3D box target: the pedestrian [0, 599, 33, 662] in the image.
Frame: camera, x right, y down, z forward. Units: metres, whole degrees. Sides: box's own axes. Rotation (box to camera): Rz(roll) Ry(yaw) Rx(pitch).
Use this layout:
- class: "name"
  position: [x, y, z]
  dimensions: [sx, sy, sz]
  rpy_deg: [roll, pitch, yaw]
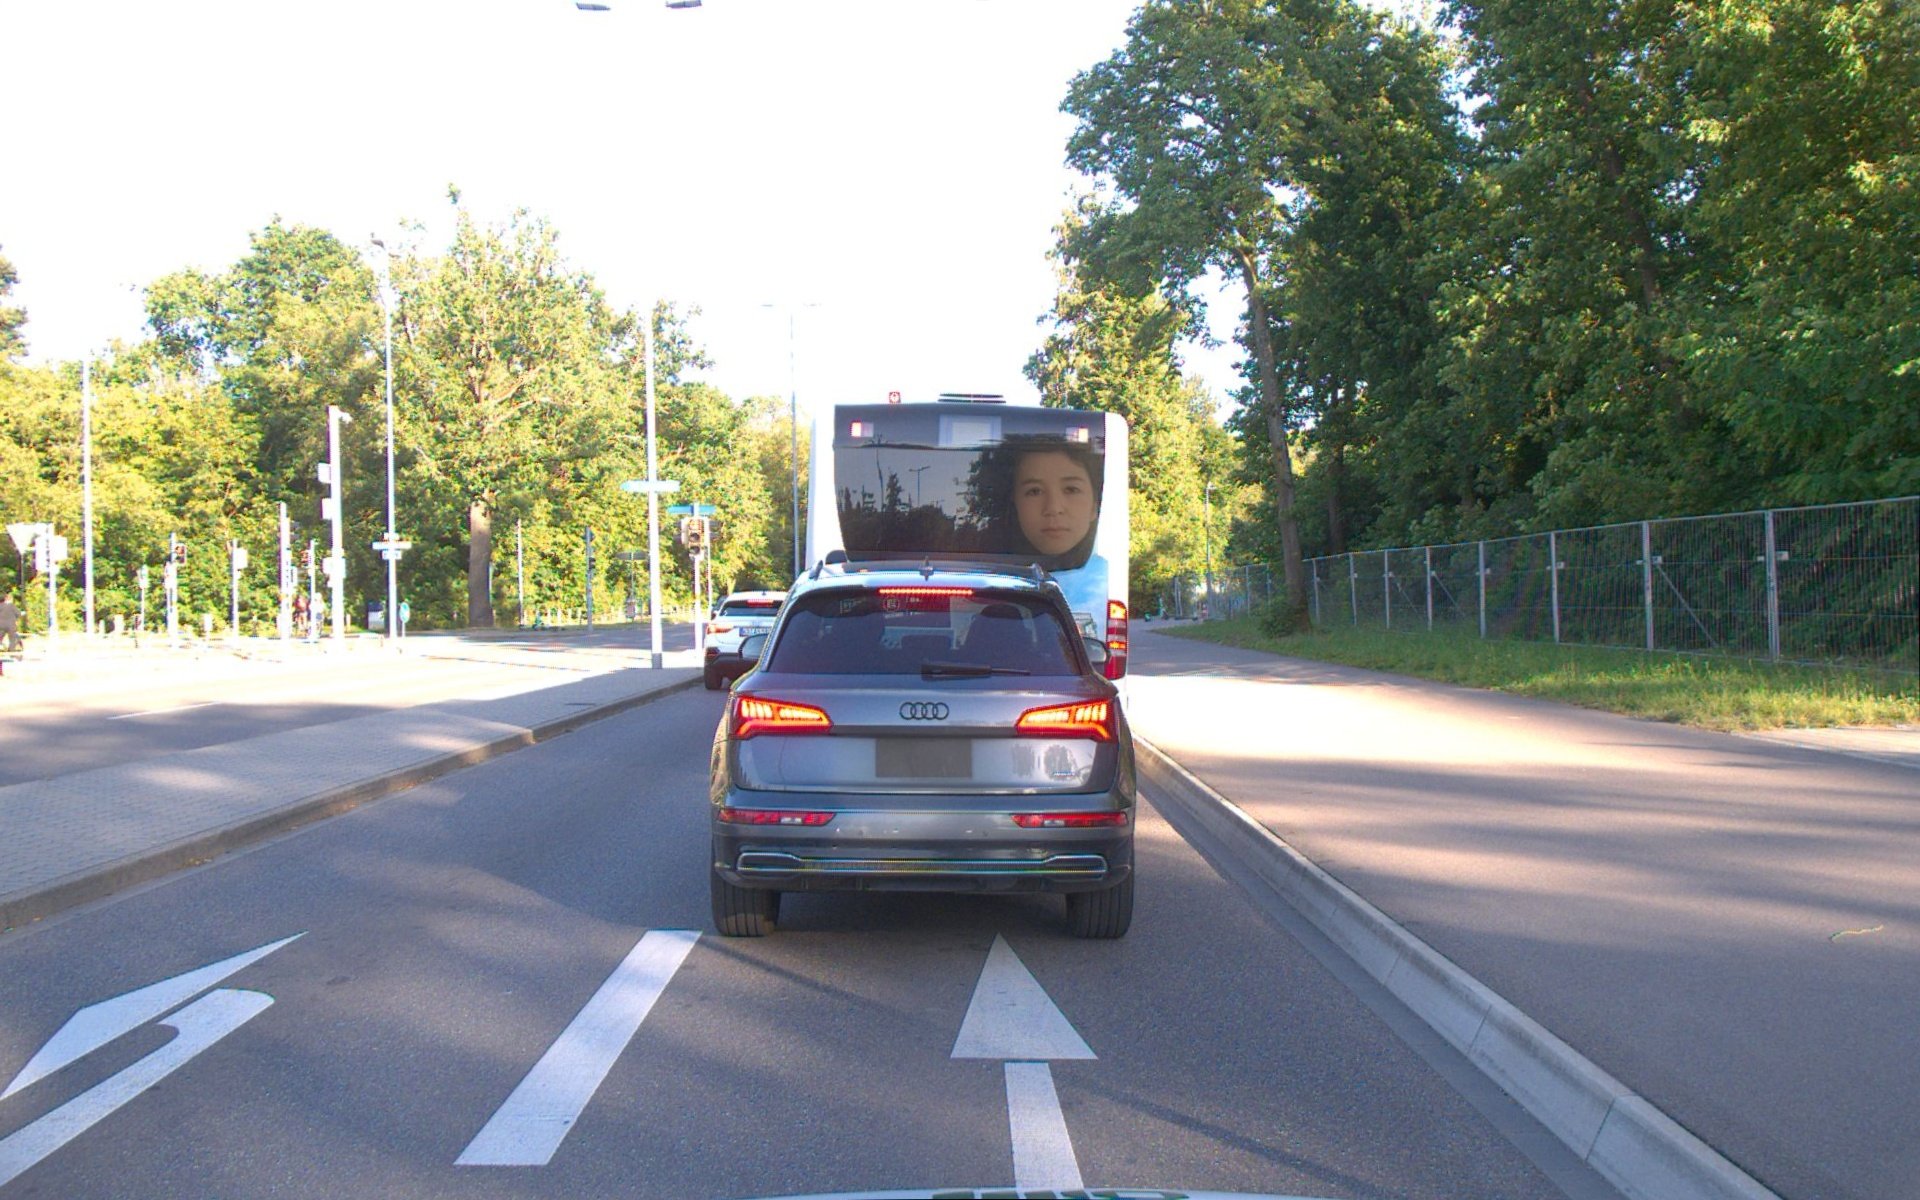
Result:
- class: "pedestrian"
  position: [-24.130, 0.771, 42.299]
  dimensions: [0.472, 1.589, 0.648]
  rpy_deg: [1, -1, -1]

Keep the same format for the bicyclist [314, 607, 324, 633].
- class: "bicyclist"
  position: [-24.742, 0.765, 63.847]
  dimensions: [0.268, 0.979, 0.240]
  rpy_deg: [1, -1, -6]

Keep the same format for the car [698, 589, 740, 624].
- class: "car"
  position: [-12.163, 0.321, 83.659]
  dimensions: [1.955, 1.691, 3.995]
  rpy_deg: [-2, 0, -6]

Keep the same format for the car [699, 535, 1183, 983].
- class: "car"
  position: [-0.097, 0.586, 8.343]
  dimensions: [1.830, 1.693, 4.000]
  rpy_deg: [1, 1, -1]

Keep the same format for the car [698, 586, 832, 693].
- class: "car"
  position: [-3.154, 0.590, 27.446]
  dimensions: [1.771, 1.599, 4.000]
  rpy_deg: [1, 1, -1]

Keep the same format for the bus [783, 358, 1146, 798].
- class: "bus"
  position: [0.056, -0.202, 15.118]
  dimensions: [2.623, 3.196, 5.882]
  rpy_deg: [1, 1, 0]

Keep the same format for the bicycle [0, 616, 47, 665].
- class: "bicycle"
  position: [-24.118, 1.030, 42.289]
  dimensions: [0.458, 1.198, 2.003]
  rpy_deg: [1, 0, -1]

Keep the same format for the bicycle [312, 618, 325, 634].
- class: "bicycle"
  position: [-24.748, 1.003, 63.825]
  dimensions: [0.261, 0.592, 0.838]
  rpy_deg: [1, 0, -6]

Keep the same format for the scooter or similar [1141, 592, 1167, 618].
- class: "scooter or similar"
  position: [9.159, 0.240, 78.128]
  dimensions: [1.158, 1.195, 0.659]
  rpy_deg: [1, 0, 10]
